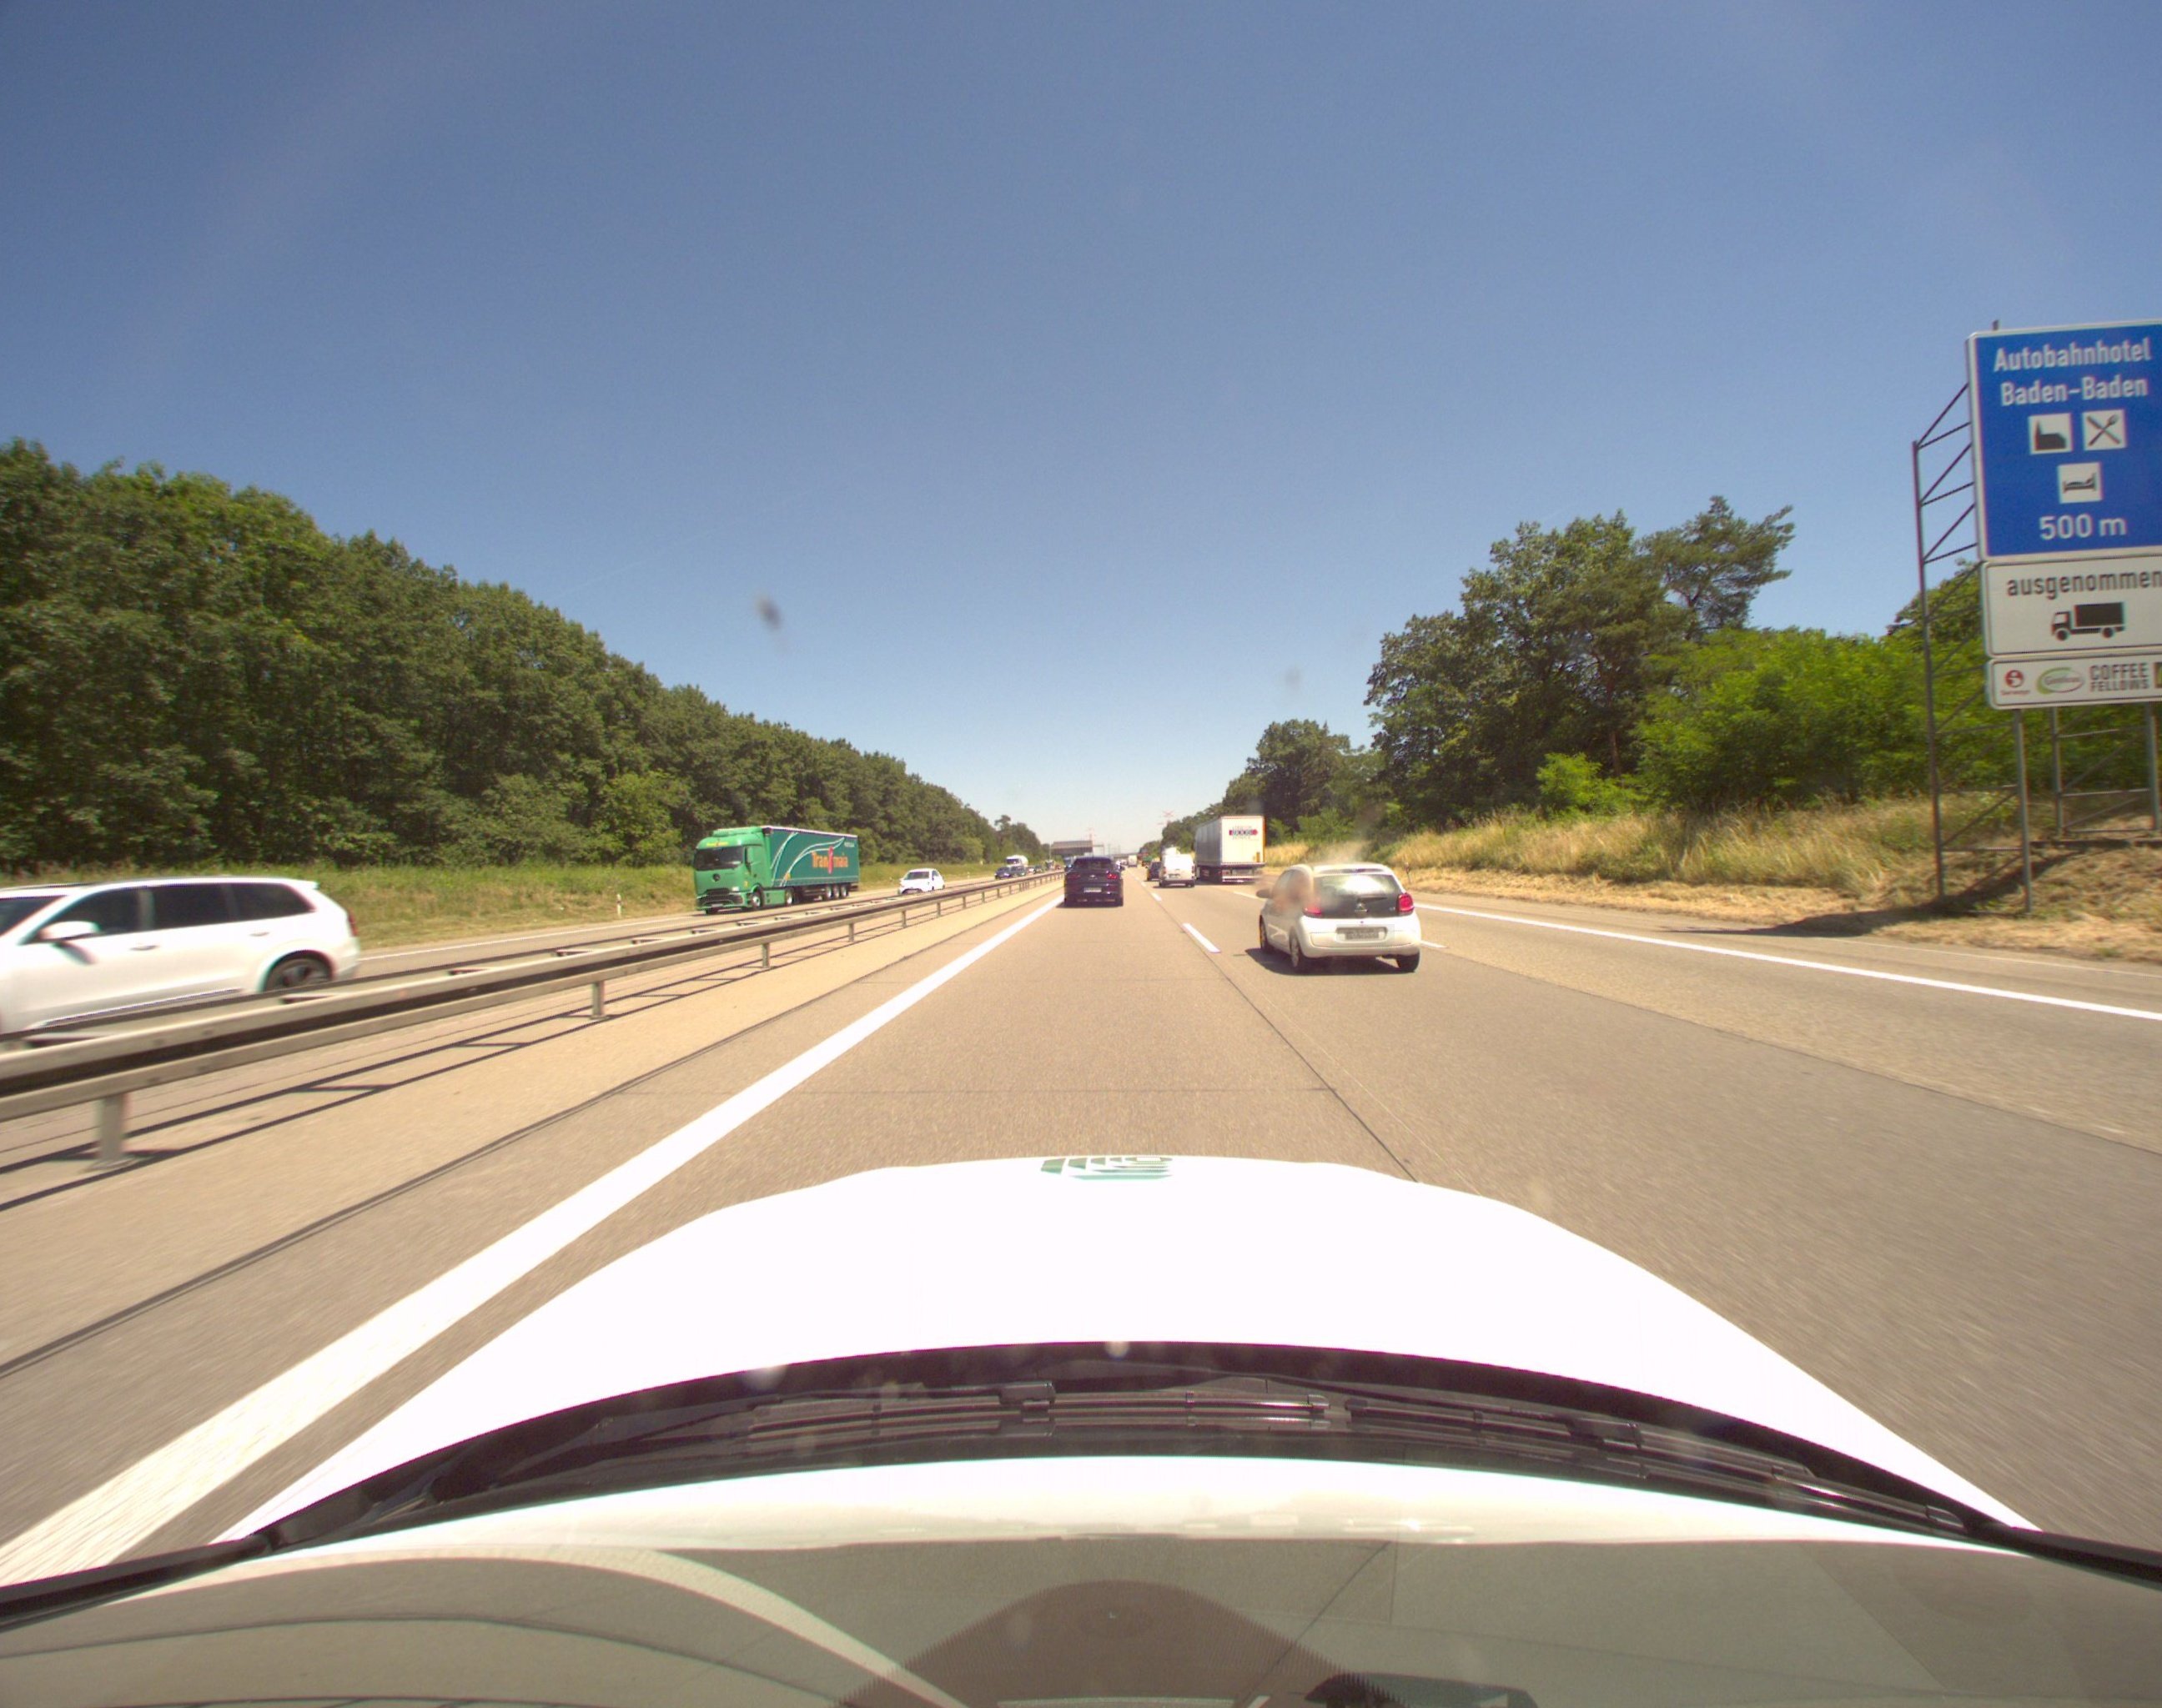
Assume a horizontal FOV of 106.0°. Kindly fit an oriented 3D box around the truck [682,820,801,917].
[{"bbox_3d":[-16.461,0.682,40.038,2.690,4.161,6.300,-4,-1,2],"label":"truck"}]

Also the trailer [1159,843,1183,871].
[{"bbox_3d":[13.146,0.500,119.523,2.672,3.837,12.015,0,-1,2],"label":"trailer"}]

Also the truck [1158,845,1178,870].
[{"bbox_3d":[13.373,0.546,125.244,2.672,3.837,4.446,0,-1,2],"label":"truck"}]

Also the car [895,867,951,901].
[{"bbox_3d":[-7.978,1.491,41.496,1.649,1.500,4.603,-4,-1,2],"label":"car"}]

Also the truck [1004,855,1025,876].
[{"bbox_3d":[-11.562,1.989,142.395,2.672,3.434,6.148,-4,-1,2],"label":"truck"}]

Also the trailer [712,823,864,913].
[{"bbox_3d":[-16.164,0.741,46.825,2.694,4.161,14.346,-4,-1,2],"label":"trailer"}]

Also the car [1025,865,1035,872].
[{"bbox_3d":[-10.809,3.098,172.117,1.563,1.465,4.037,-4,-1,2],"label":"car"}]

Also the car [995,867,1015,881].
[{"bbox_3d":[-9.355,2.452,100.267,1.667,1.443,5.139,-4,-1,2],"label":"car"}]

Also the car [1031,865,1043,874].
[{"bbox_3d":[-7.577,2.652,141.628,1.626,1.473,3.939,-4,-1,2],"label":"car"}]

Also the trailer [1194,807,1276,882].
[{"bbox_3d":[9.706,-0.445,53.191,3.273,4.219,13.571,0,-1,2],"label":"trailer"}]

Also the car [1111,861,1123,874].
[{"bbox_3d":[5.025,1.846,114.824,1.620,1.755,3.807,-1,0,2],"label":"car"}]

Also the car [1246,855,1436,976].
[{"bbox_3d":[3.663,0.781,12.213,1.701,1.495,4.026,-1,0,2],"label":"car"}]

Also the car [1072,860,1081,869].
[{"bbox_3d":[-1.187,2.632,205.468,1.988,1.947,5.744,-4,-1,2],"label":"car"}]

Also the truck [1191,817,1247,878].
[{"bbox_3d":[9.998,-0.402,59.759,3.273,4.219,6.010,0,-1,2],"label":"truck"}]

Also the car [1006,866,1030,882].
[{"bbox_3d":[-6.142,1.935,79.939,1.702,1.410,5.086,-4,-1,2],"label":"car"}]

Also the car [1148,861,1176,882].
[{"bbox_3d":[5.940,1.286,60.091,1.767,1.472,3.874,-2,-1,2],"label":"car"}]

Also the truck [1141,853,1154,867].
[{"bbox_3d":[18.301,1.765,224.737,2.977,3.729,10.094,0,-1,2],"label":"truck"}]

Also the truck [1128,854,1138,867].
[{"bbox_3d":[11.996,1.578,188.461,2.052,2.914,7.006,-2,-1,2],"label":"truck"}]

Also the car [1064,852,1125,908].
[{"bbox_3d":[0.528,0.826,28.888,1.933,1.752,5.815,-1,0,2],"label":"car"}]

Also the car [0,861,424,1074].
[{"bbox_3d":[-10.172,1.062,8.431,1.946,1.792,5.565,-4,0,2],"label":"car"}]

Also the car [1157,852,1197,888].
[{"bbox_3d":[5.376,0.886,46.146,1.807,1.827,5.113,-2,-1,2],"label":"car"}]
